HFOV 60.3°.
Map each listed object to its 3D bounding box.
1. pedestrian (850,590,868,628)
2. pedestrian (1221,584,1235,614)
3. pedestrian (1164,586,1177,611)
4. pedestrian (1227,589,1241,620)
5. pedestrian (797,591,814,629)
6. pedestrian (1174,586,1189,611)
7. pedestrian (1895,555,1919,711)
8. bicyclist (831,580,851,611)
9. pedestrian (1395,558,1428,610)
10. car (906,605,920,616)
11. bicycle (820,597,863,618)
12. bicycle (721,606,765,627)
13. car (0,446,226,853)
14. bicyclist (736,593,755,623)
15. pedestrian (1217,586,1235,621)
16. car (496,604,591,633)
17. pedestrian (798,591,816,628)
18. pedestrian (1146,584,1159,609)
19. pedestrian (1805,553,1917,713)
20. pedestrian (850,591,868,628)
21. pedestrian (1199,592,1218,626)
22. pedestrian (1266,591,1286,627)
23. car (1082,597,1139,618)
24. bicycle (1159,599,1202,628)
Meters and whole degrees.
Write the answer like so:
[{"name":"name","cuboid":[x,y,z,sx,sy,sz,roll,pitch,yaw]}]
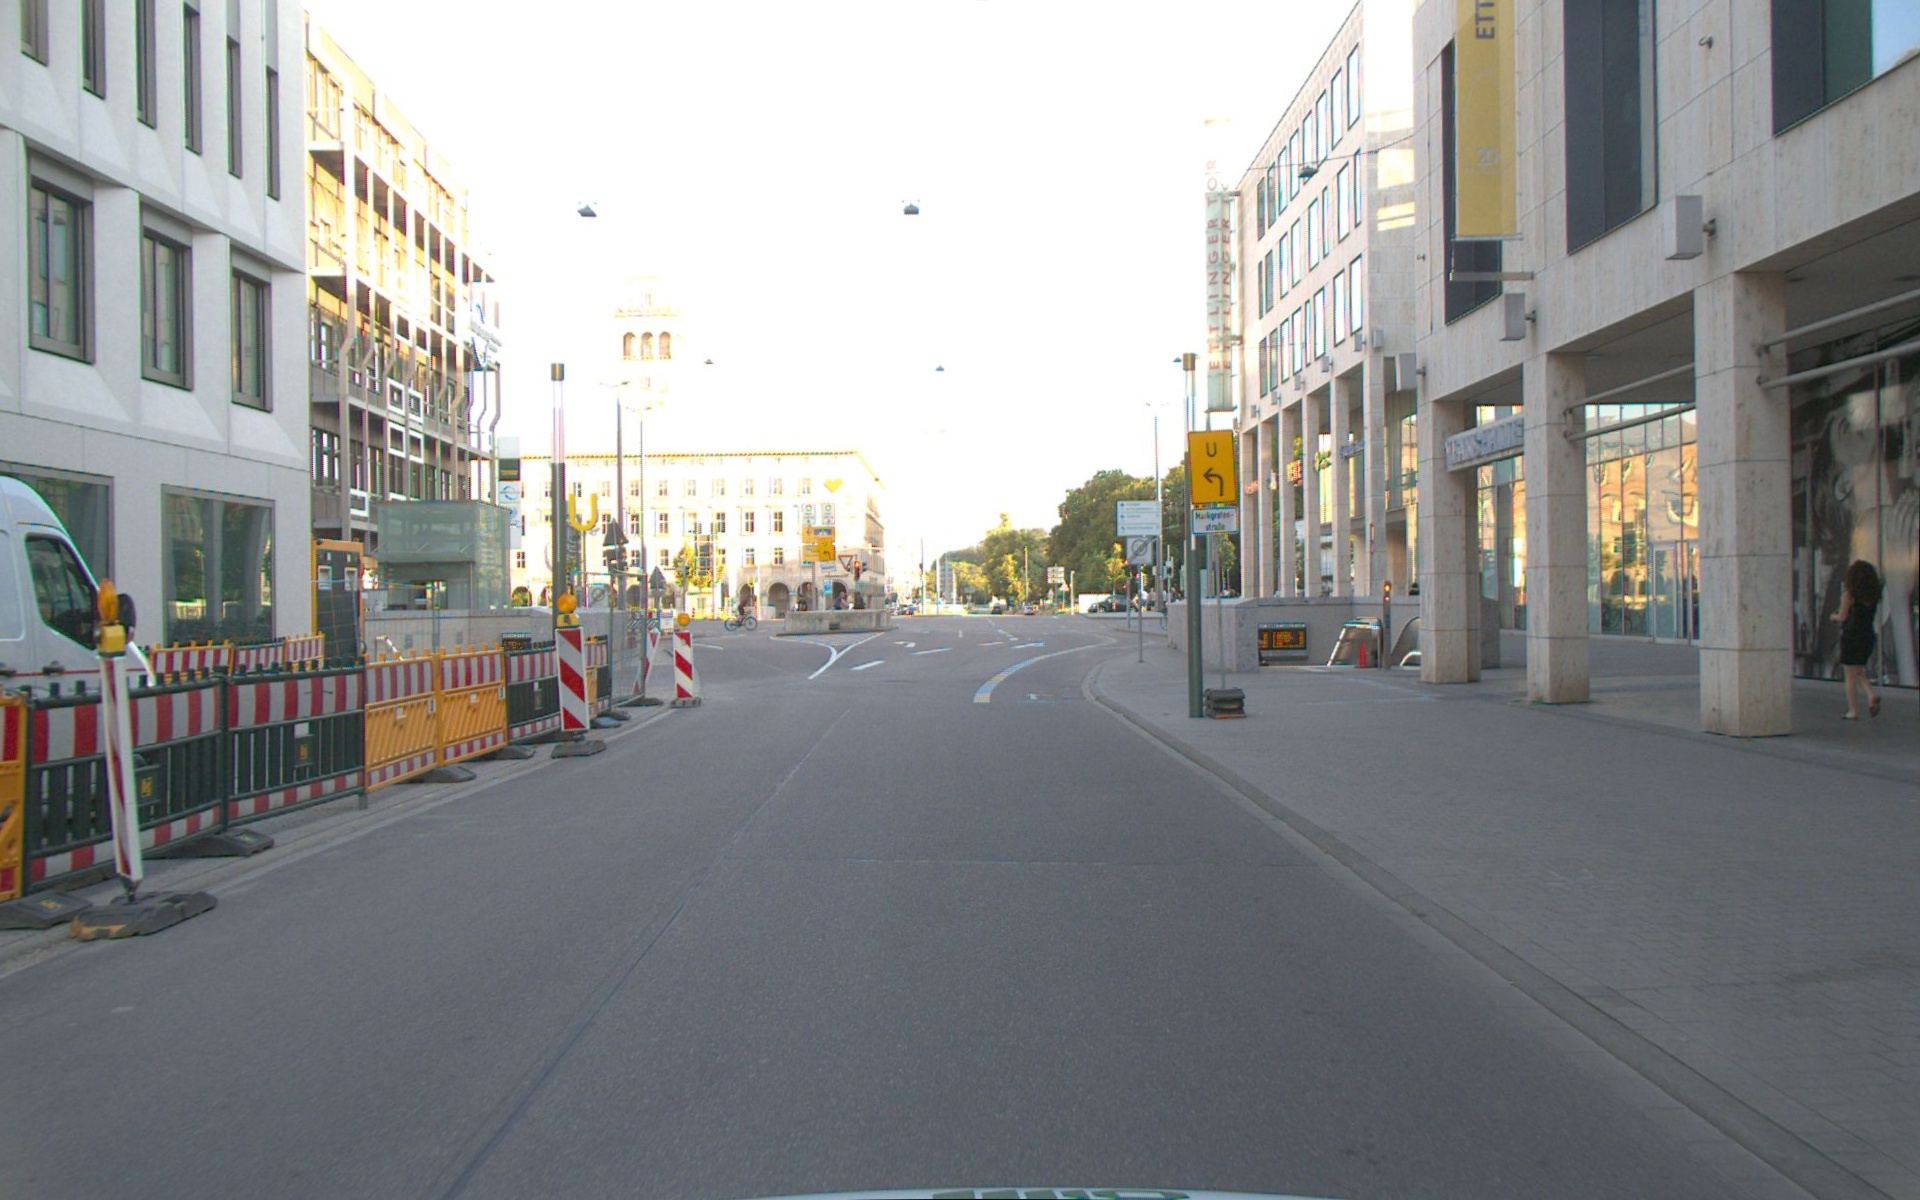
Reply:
[{"name":"pedestrian","cuboid":[-4.834,0.430,79.227,0.725,1.808,0.861,-2,0,-10]},{"name":"pedestrian","cuboid":[15.791,-0.053,97.441,0.818,1.760,0.688,-1,0,9]},{"name":"pedestrian","cuboid":[14.951,-0.121,117.397,0.791,1.760,0.688,-1,0,12]},{"name":"pedestrian","cuboid":[15.687,0.279,94.798,0.677,1.760,0.741,-1,0,2]},{"name":"pedestrian","cuboid":[-7.623,0.495,81.592,0.724,1.807,0.863,-3,0,-3]},{"name":"pedestrian","cuboid":[15.696,-0.114,117.311,0.799,1.760,0.681,-1,0,-28]},{"name":"pedestrian","cuboid":[9.979,0.327,16.698,0.621,1.569,0.775,0,0,-1]},{"name":"bicyclist","cuboid":[-6.322,-0.229,87.762,0.999,1.649,0.653,-1,0,0]},{"name":"pedestrian","cuboid":[16.272,-0.569,59.561,0.843,1.808,0.990,-2,0,-1]},{"name":"car","cuboid":[-7.058,1.566,249.009,1.952,1.545,4.001,-1,0,2]},{"name":"bicycle","cuboid":[-6.293,0.390,87.754,2.196,1.080,0.653,-1,0,0]},{"name":"bicycle","cuboid":[-11.433,0.861,87.272,2.195,1.080,0.653,-1,0,1]},{"name":"car","cuboid":[-7.004,0.315,10.384,2.129,2.513,5.998,-1,0,0]},{"name":"bicyclist","cuboid":[-11.330,0.420,87.275,0.861,1.557,0.654,-1,0,2]},{"name":"pedestrian","cuboid":[14.290,0.197,88.822,0.740,1.807,0.741,-3,0,1]},{"name":"car","cuboid":[-23.132,1.010,91.921,4.699,1.522,2.128,-1,0,-1]},{"name":"pedestrian","cuboid":[-7.650,0.471,82.755,0.723,1.807,0.863,-3,0,-3]},{"name":"pedestrian","cuboid":[13.648,-0.228,117.238,0.792,1.760,0.688,-1,0,-2]},{"name":"pedestrian","cuboid":[9.054,0.323,16.641,0.709,1.569,0.728,0,0,-1]},{"name":"pedestrian","cuboid":[-4.908,0.457,80.165,0.726,1.808,0.860,0,0,-15]},{"name":"pedestrian","cuboid":[13.420,0.472,89.222,0.843,1.807,0.741,-3,0,1]},{"name":"pedestrian","cuboid":[16.409,0.471,85.897,0.874,1.872,0.688,-1,0,2]},{"name":"car","cuboid":[11.377,0.548,125.164,3.915,1.520,1.824,-1,0,-11]},{"name":"bicycle","cuboid":[9.699,0.599,72.672,1.779,1.233,0.571,-1,0,16]}]
